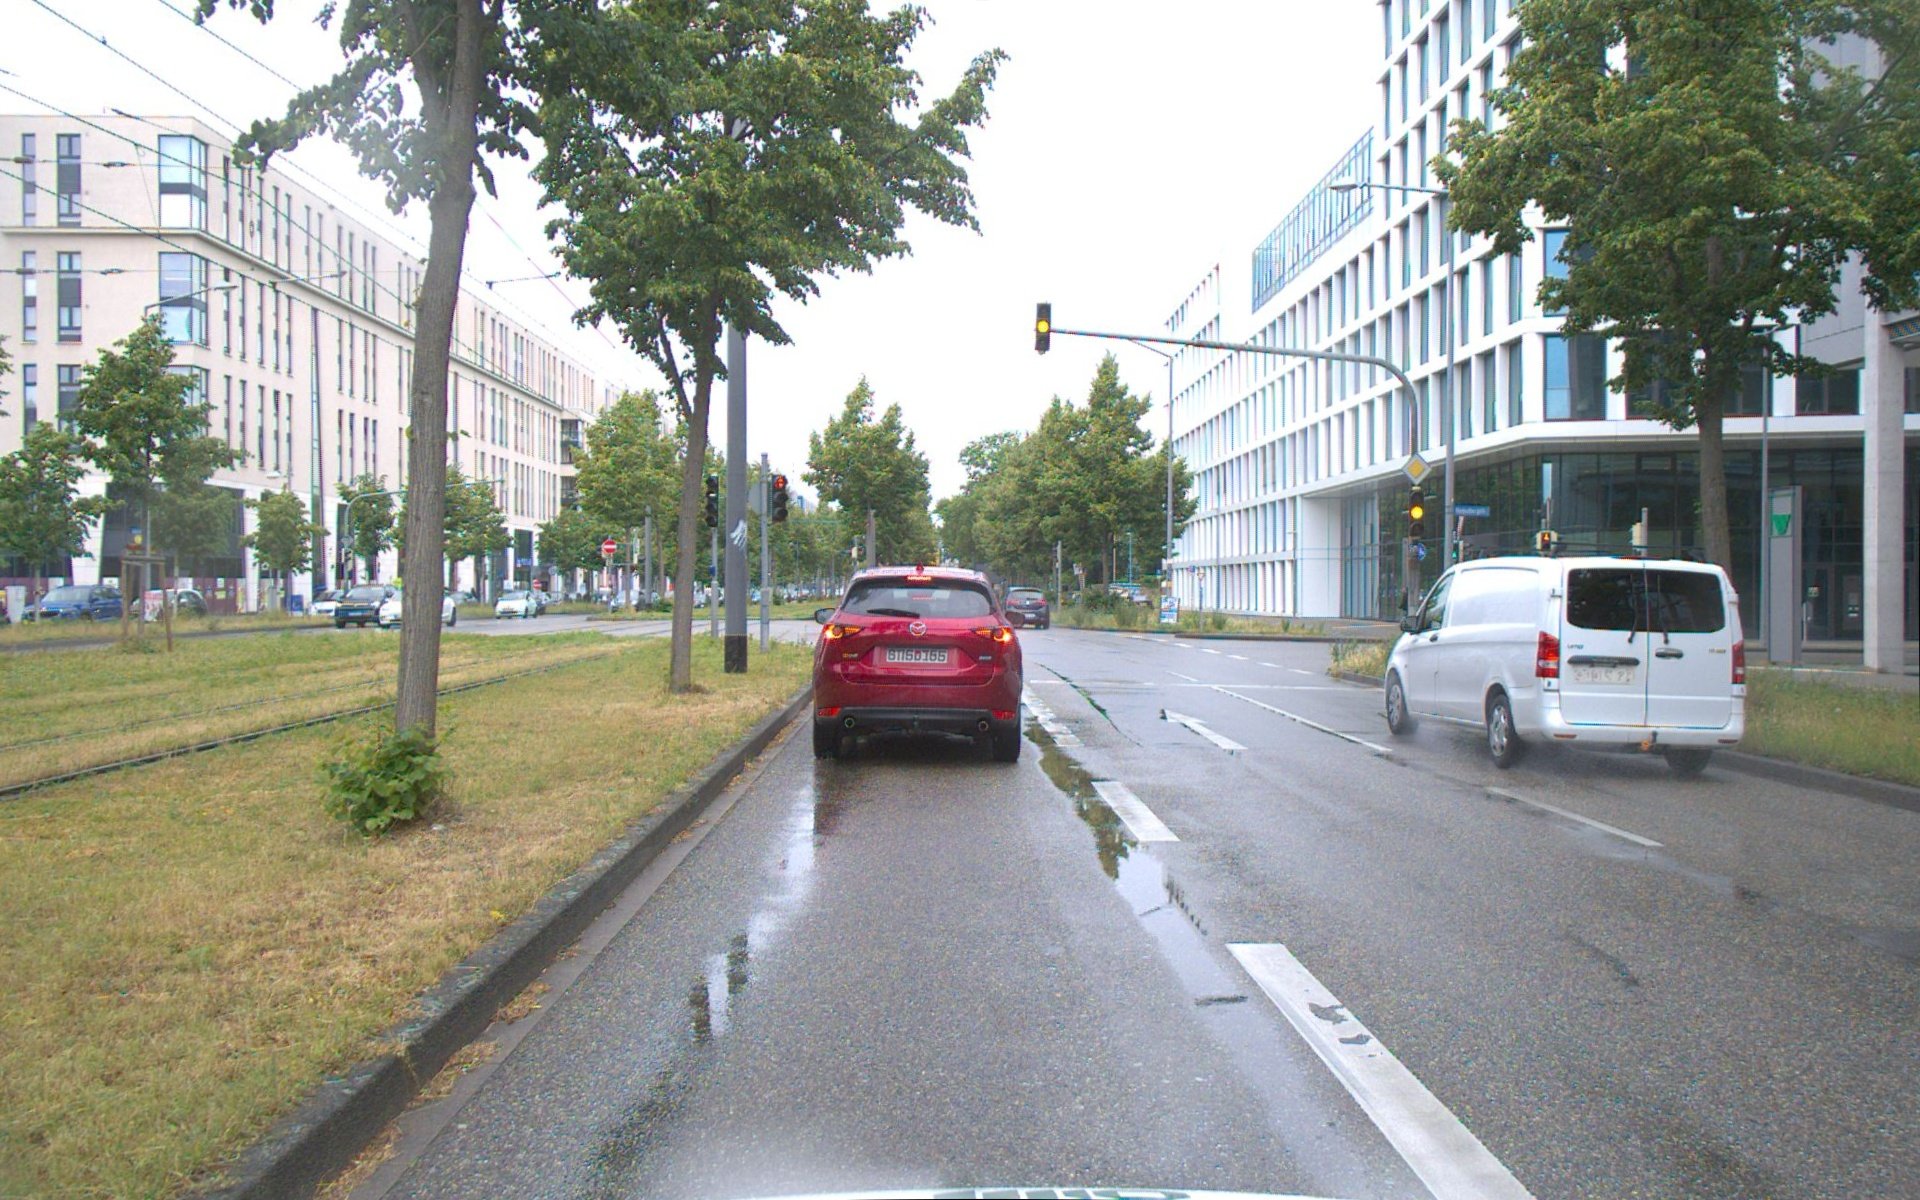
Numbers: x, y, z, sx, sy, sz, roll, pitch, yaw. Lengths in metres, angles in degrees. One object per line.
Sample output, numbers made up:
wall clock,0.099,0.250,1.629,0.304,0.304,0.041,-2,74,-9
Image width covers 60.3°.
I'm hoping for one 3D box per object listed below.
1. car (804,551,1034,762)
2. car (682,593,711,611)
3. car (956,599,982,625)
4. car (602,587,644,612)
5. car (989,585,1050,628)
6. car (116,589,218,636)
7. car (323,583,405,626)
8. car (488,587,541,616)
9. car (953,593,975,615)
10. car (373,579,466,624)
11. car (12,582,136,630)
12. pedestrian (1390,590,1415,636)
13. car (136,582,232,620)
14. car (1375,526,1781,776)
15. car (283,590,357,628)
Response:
car,-0.388,0.445,15.482,1.860,1.706,3.999,1,1,-2
car,-23.607,0.185,148.309,1.953,1.510,4.444,0,0,-2
car,0.732,0.954,132.186,1.953,2.049,3.999,0,1,-1
car,-21.686,-0.049,106.655,1.953,1.510,4.443,0,0,-3
car,2.123,0.209,59.486,1.710,1.490,3.777,0,1,-5
car,-29.207,0.425,61.046,1.955,1.626,4.441,1,1,-5
car,-23.350,0.149,64.928,1.954,1.646,3.998,0,1,-3
car,-24.004,0.078,89.260,1.955,1.510,4.441,0,0,-5
car,0.337,0.355,151.758,1.953,2.049,3.999,0,1,-1
car,-19.026,0.019,58.421,1.953,1.510,4.444,1,1,-2
car,-28.875,0.168,54.042,1.955,1.510,4.441,1,1,-5
pedestrian,16.983,0.488,63.549,0.665,1.737,0.783,1,0,-8
car,-31.780,0.008,67.891,1.953,1.510,4.444,1,1,-2
car,5.680,0.419,16.026,1.927,2.014,5.090,1,0,-1
car,-29.182,0.381,75.528,1.954,1.646,3.998,0,1,-3
